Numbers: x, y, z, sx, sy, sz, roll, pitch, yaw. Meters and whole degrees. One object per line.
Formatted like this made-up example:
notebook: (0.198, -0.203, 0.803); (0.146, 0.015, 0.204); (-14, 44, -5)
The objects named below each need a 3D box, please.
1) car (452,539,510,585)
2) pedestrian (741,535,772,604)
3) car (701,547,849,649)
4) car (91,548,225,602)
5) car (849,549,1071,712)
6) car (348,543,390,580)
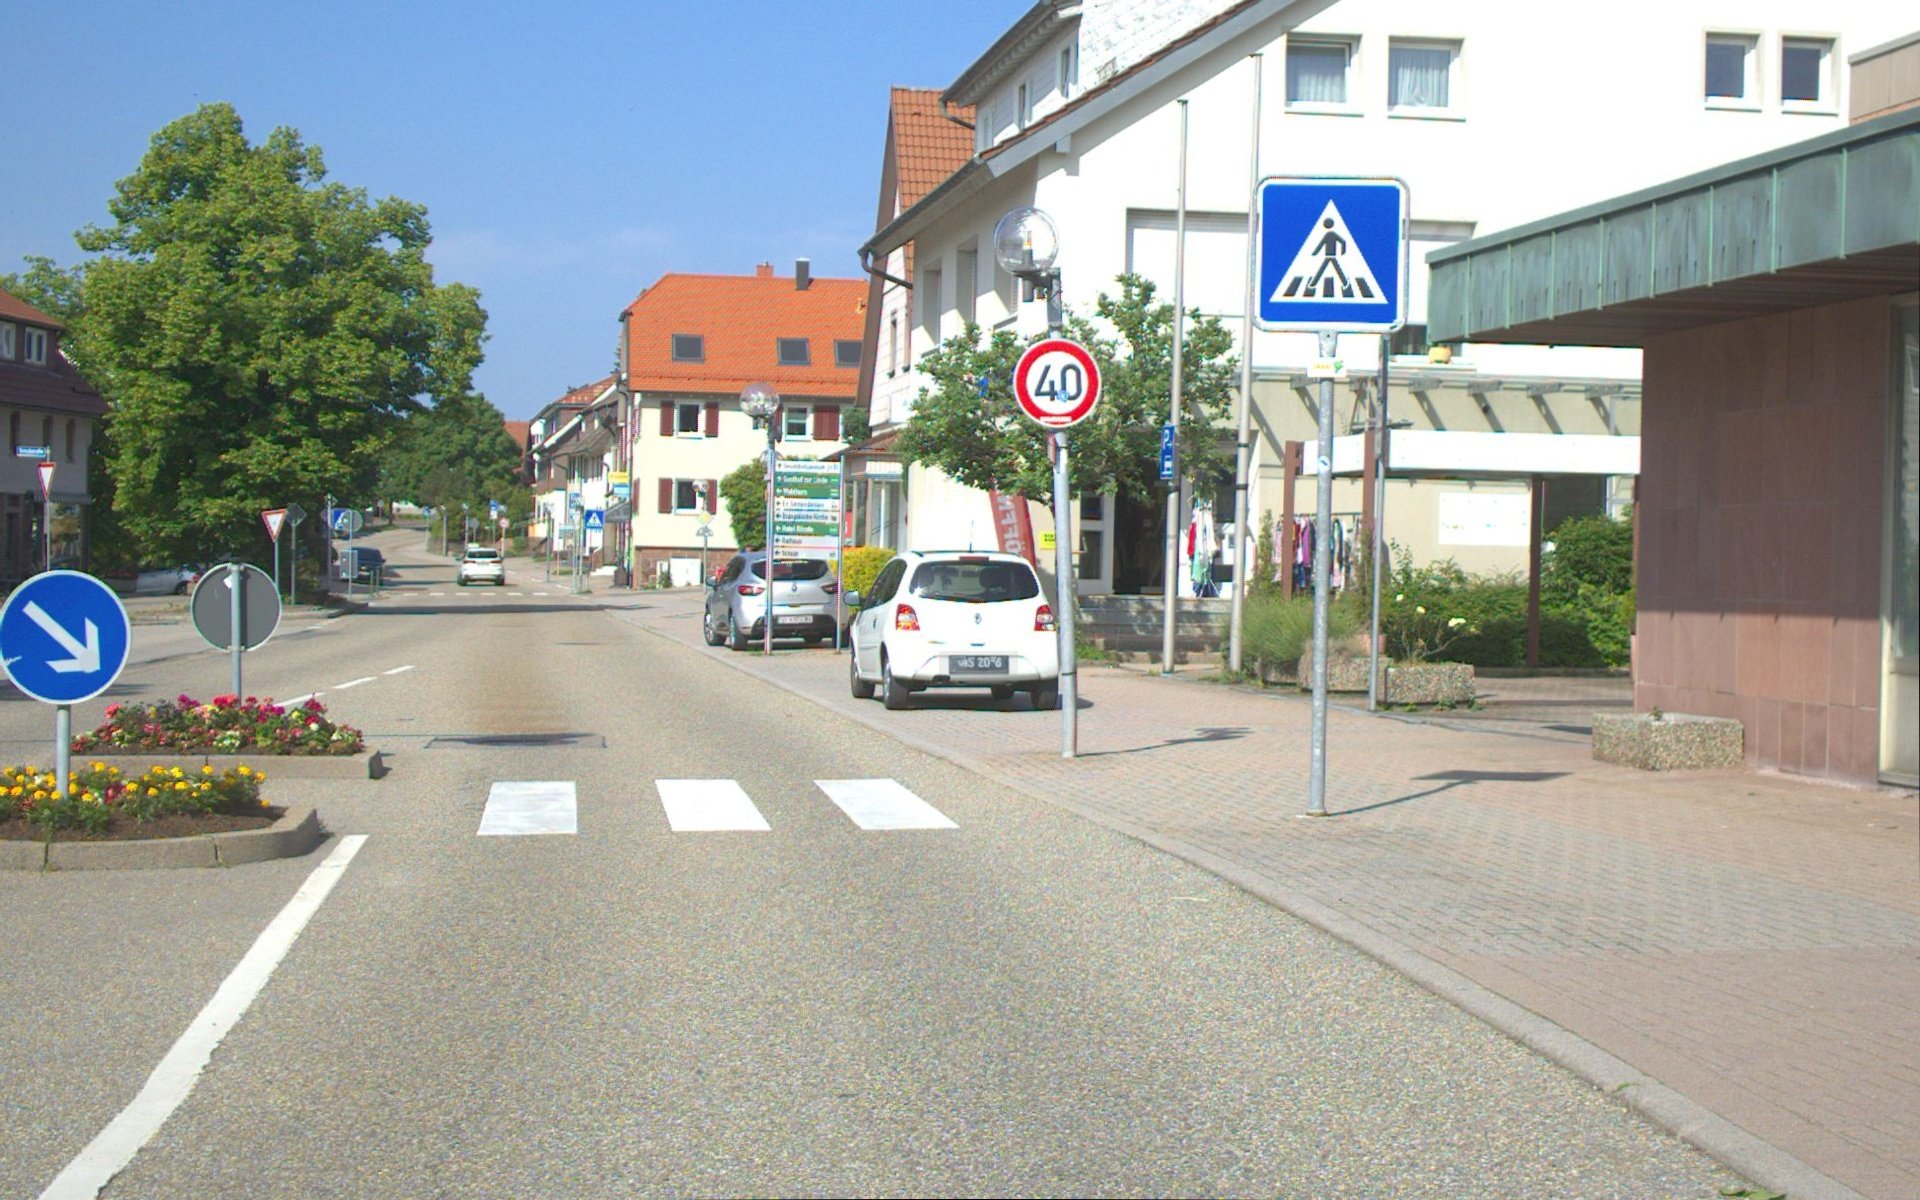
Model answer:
car: (-22.002, -1.732, 157.860); (2.495, 2.007, 4.305); (-2, 1, -9)
pedestrian: (-5.308, -0.803, 89.694); (0.799, 1.778, 0.980); (-1, 1, -3)
car: (-2.795, -0.057, 51.280); (1.635, 1.415, 3.936); (-2, 1, -11)
car: (-25.435, -0.783, 109.099); (3.759, 1.449, 1.817); (-2, -4, 4)
car: (-0.056, 0.249, 32.901); (1.760, 1.418, 3.634); (-1, 1, -5)
car: (-26.697, -1.762, 155.375); (1.672, 1.528, 3.536); (4, 0, -8)
